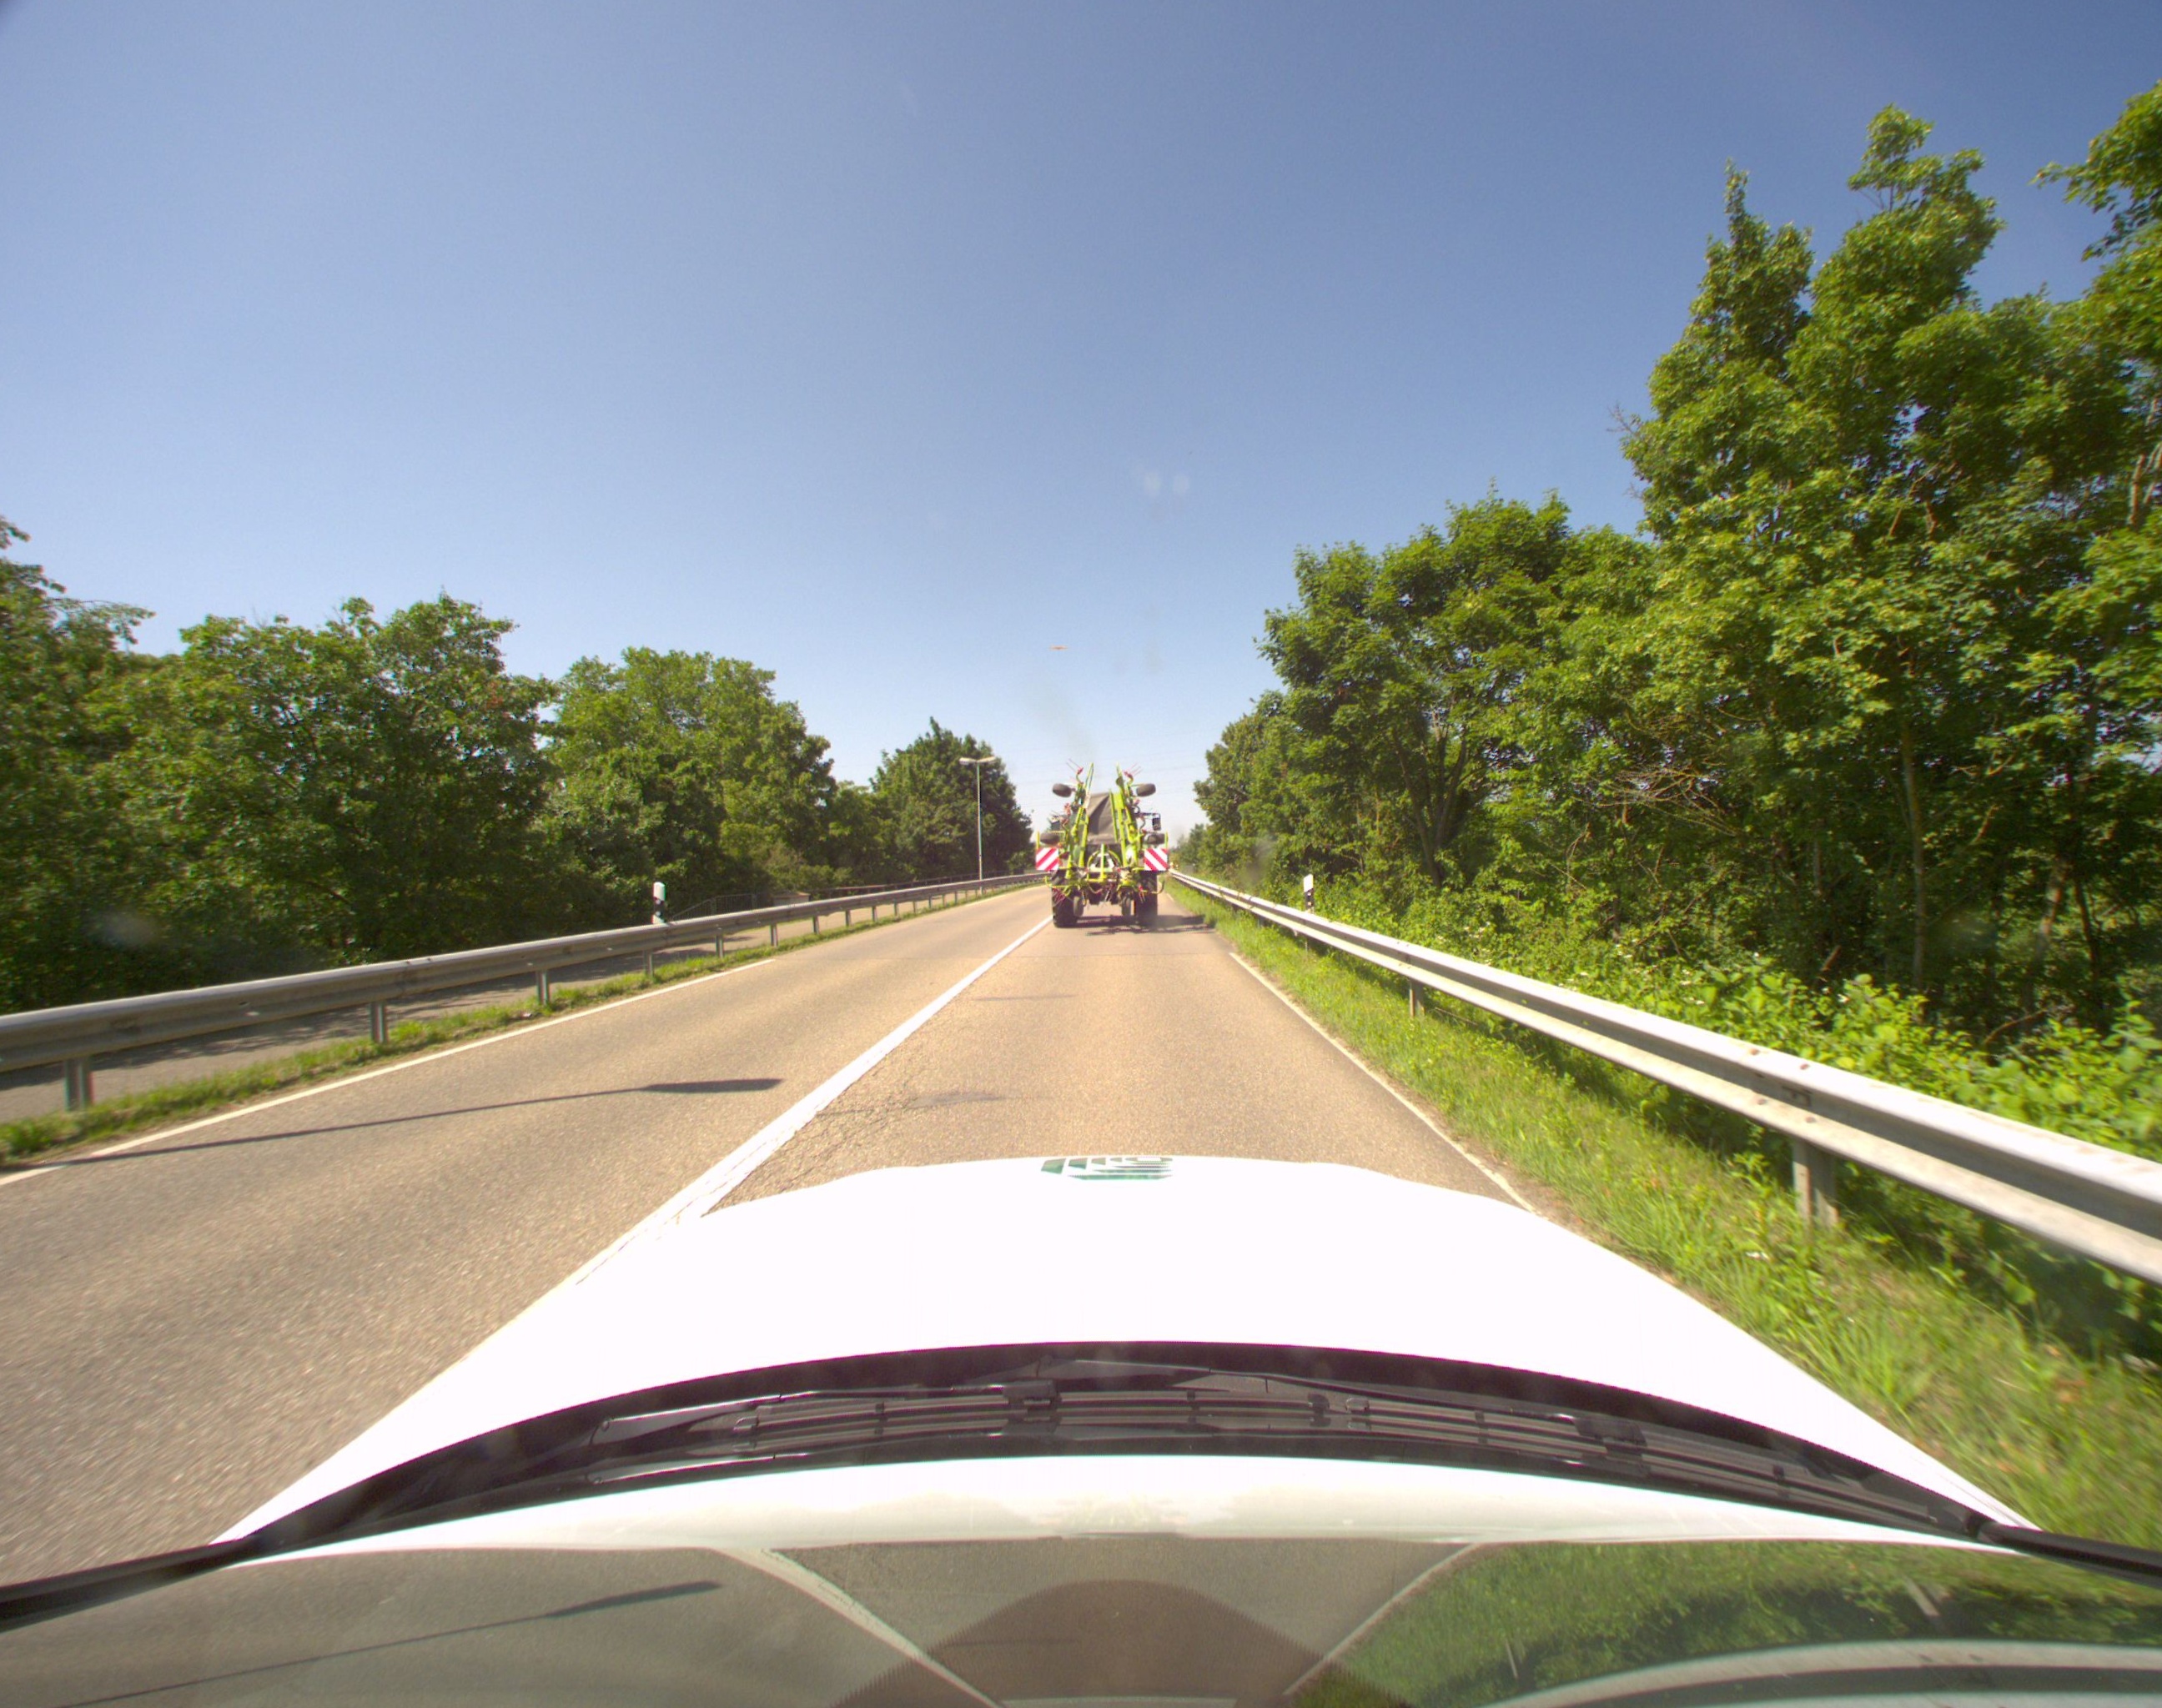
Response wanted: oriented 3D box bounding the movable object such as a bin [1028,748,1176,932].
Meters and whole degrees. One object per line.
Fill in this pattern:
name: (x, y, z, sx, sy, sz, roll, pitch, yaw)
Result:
movable object such as a bin: (0.523, -0.273, 18.268, 2.744, 3.444, 5.673, -1, 0, 2)
